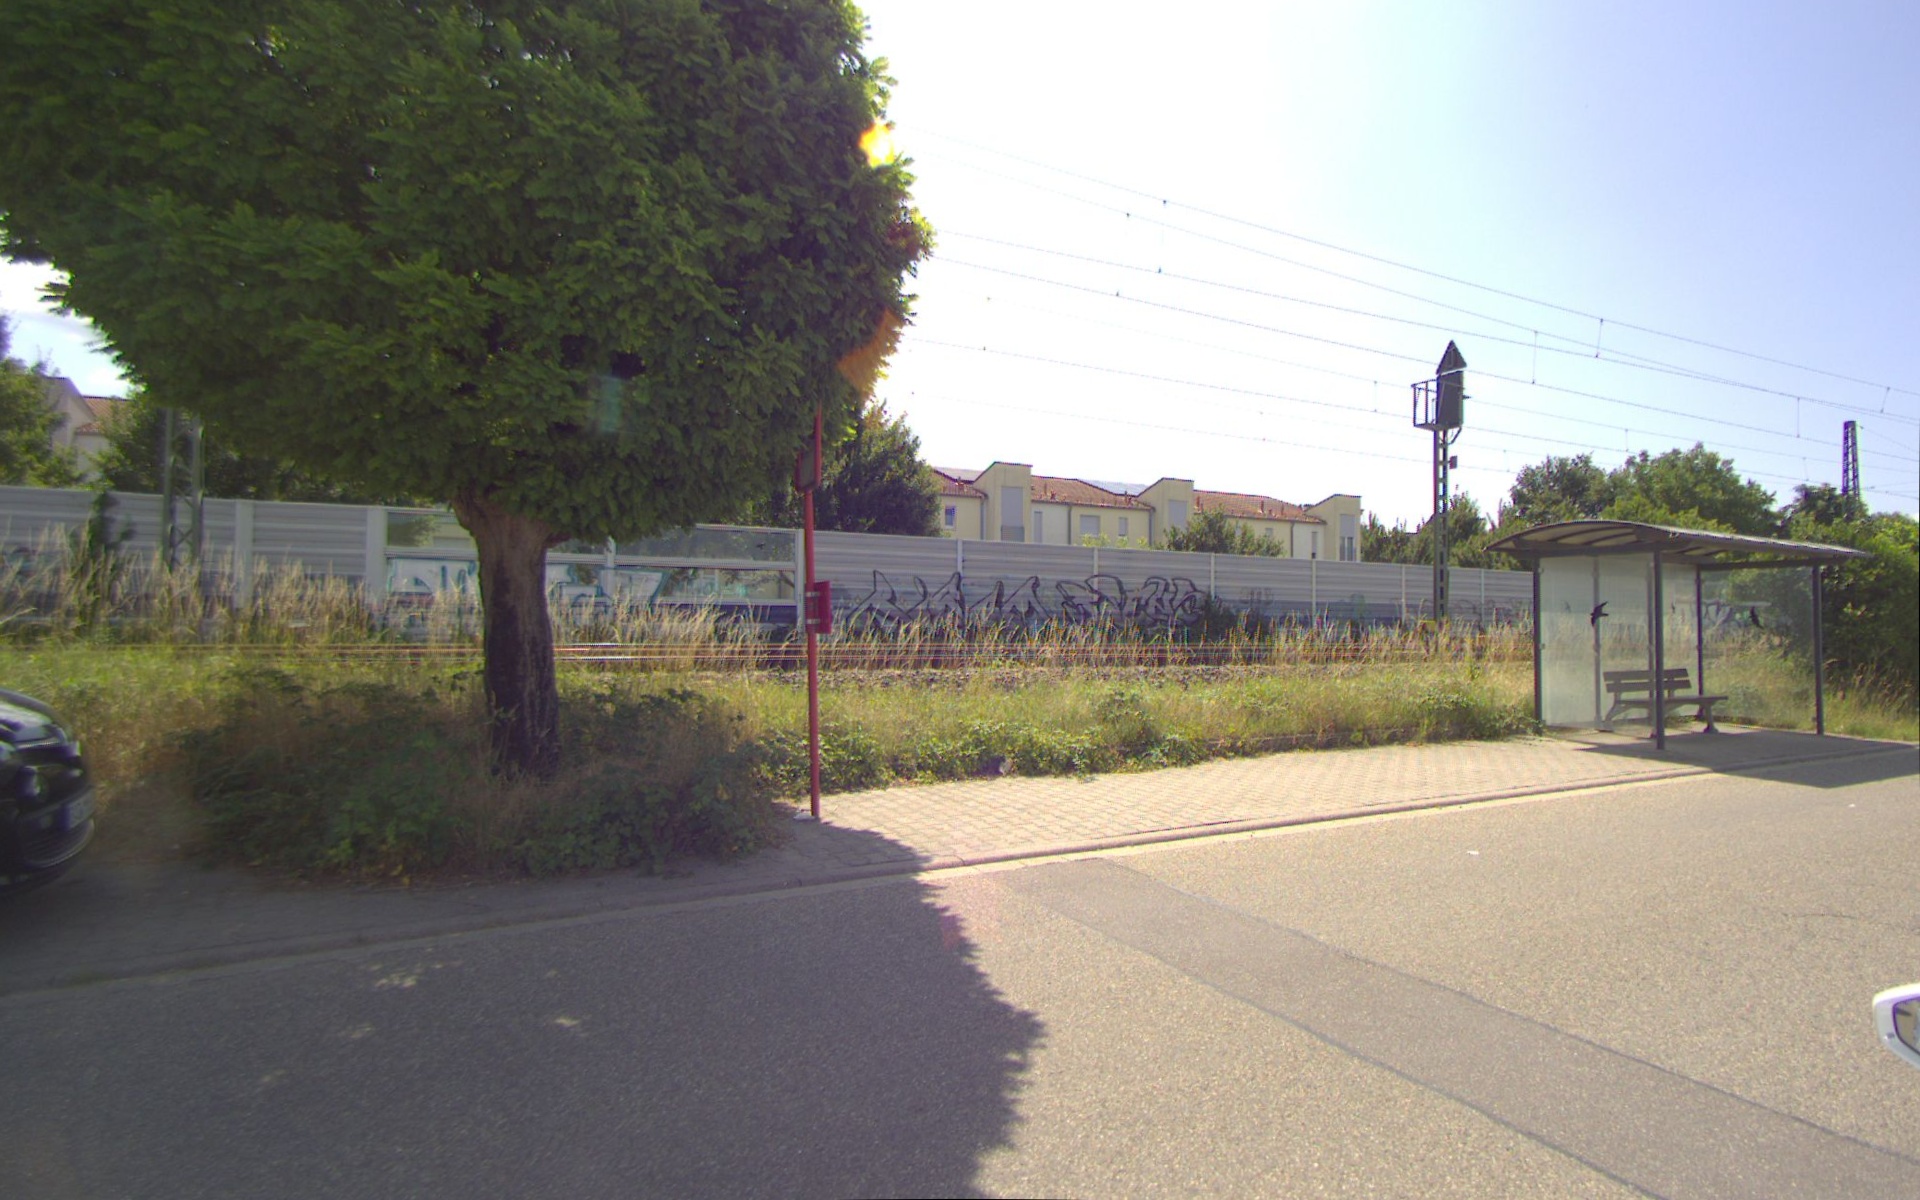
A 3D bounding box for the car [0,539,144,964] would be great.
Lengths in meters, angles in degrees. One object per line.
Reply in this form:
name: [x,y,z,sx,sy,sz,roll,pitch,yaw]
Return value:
car: [-5.477,0.550,3.727,3.538,1.617,1.733,1,-1,-31]
